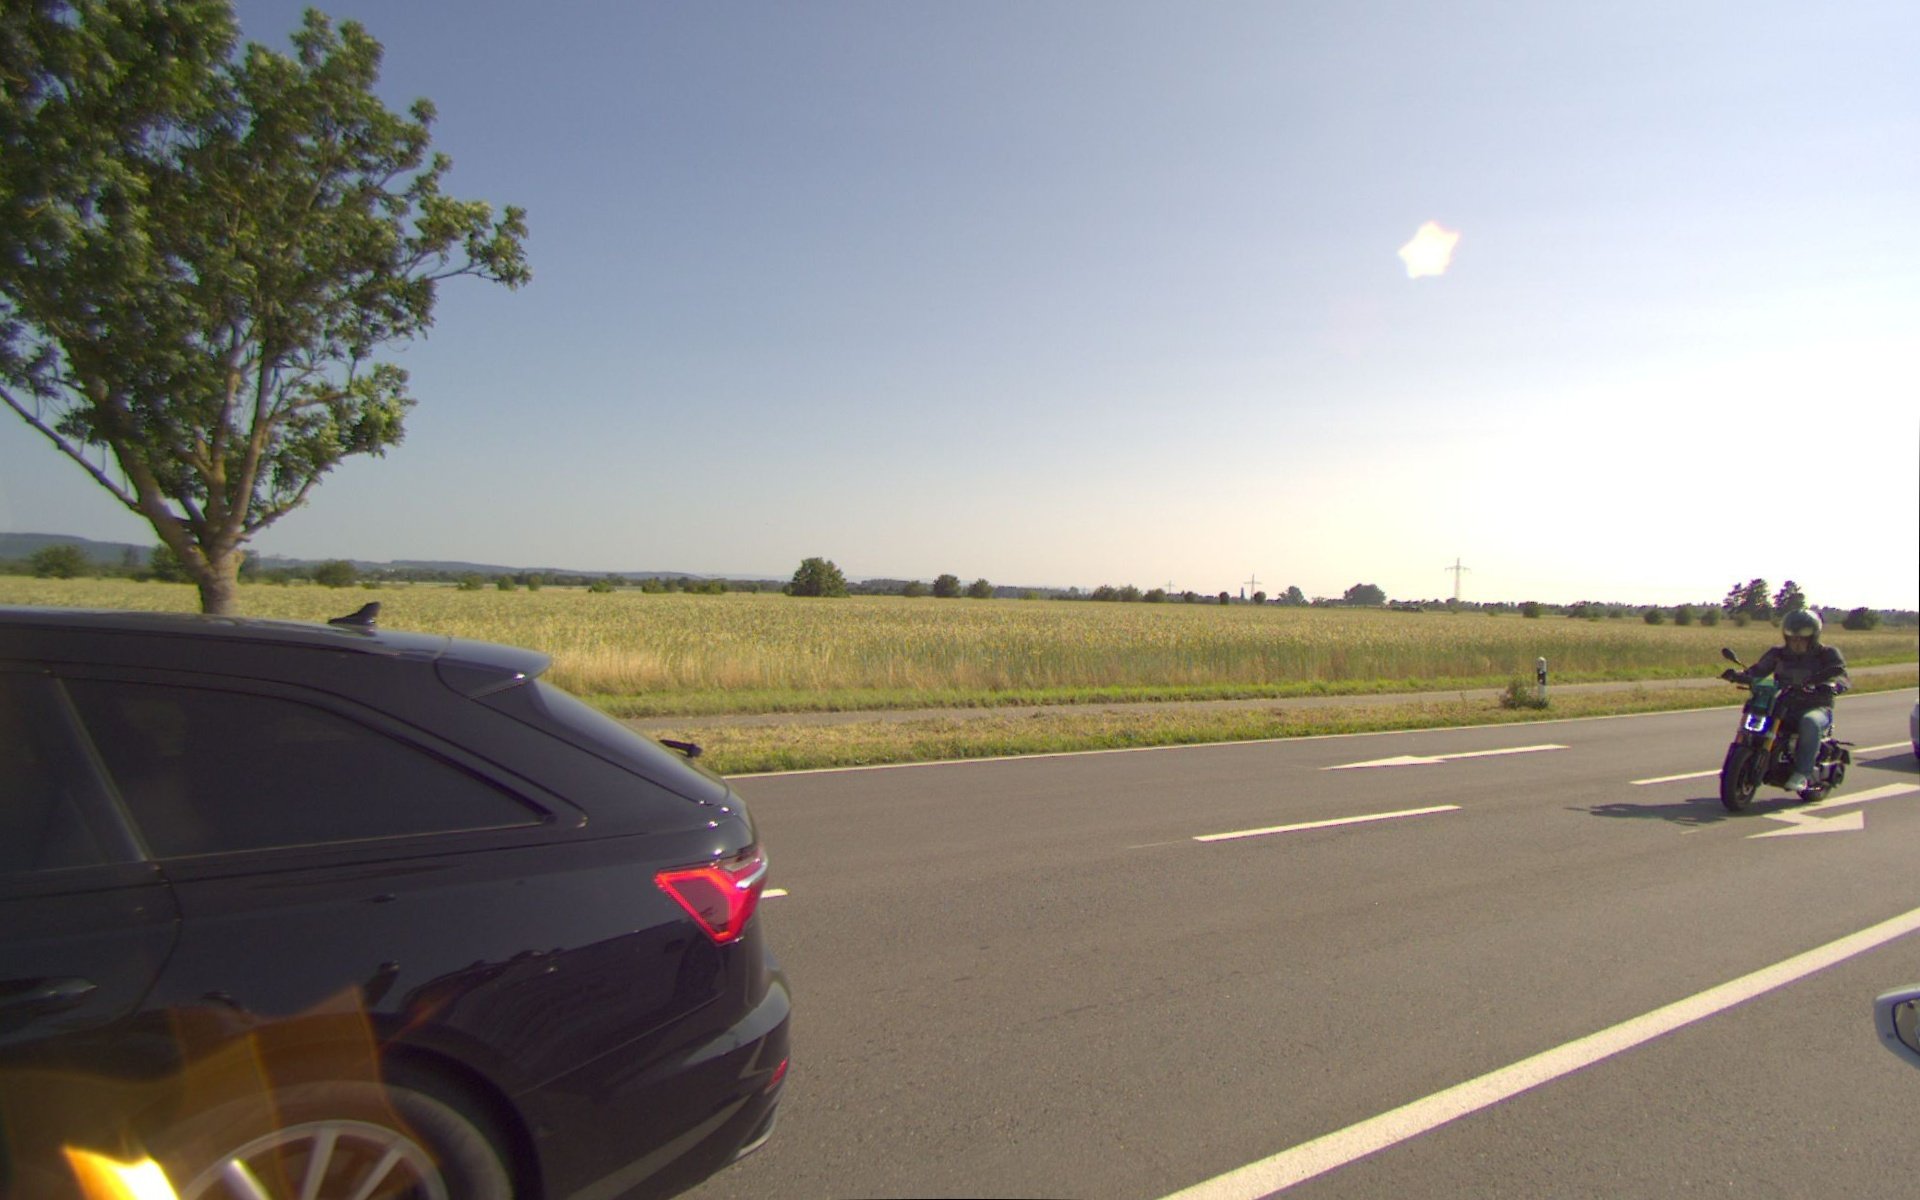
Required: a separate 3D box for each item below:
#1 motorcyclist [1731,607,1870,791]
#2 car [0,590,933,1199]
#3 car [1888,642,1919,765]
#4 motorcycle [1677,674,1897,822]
[{"bbox_3d":[7.360,0.828,8.804,0.837,1.515,0.674,1,0,-30],"label":"motorcyclist"},{"bbox_3d":[-2.577,0.692,1.870,4.741,1.455,1.880,2,-1,-31],"label":"car"},{"bbox_3d":[13.150,1.256,12.220,3.953,1.422,1.678,2,-1,-30],"label":"car"},{"bbox_3d":[7.246,1.232,8.785,1.946,1.088,0.867,2,-1,-30],"label":"motorcycle"}]
